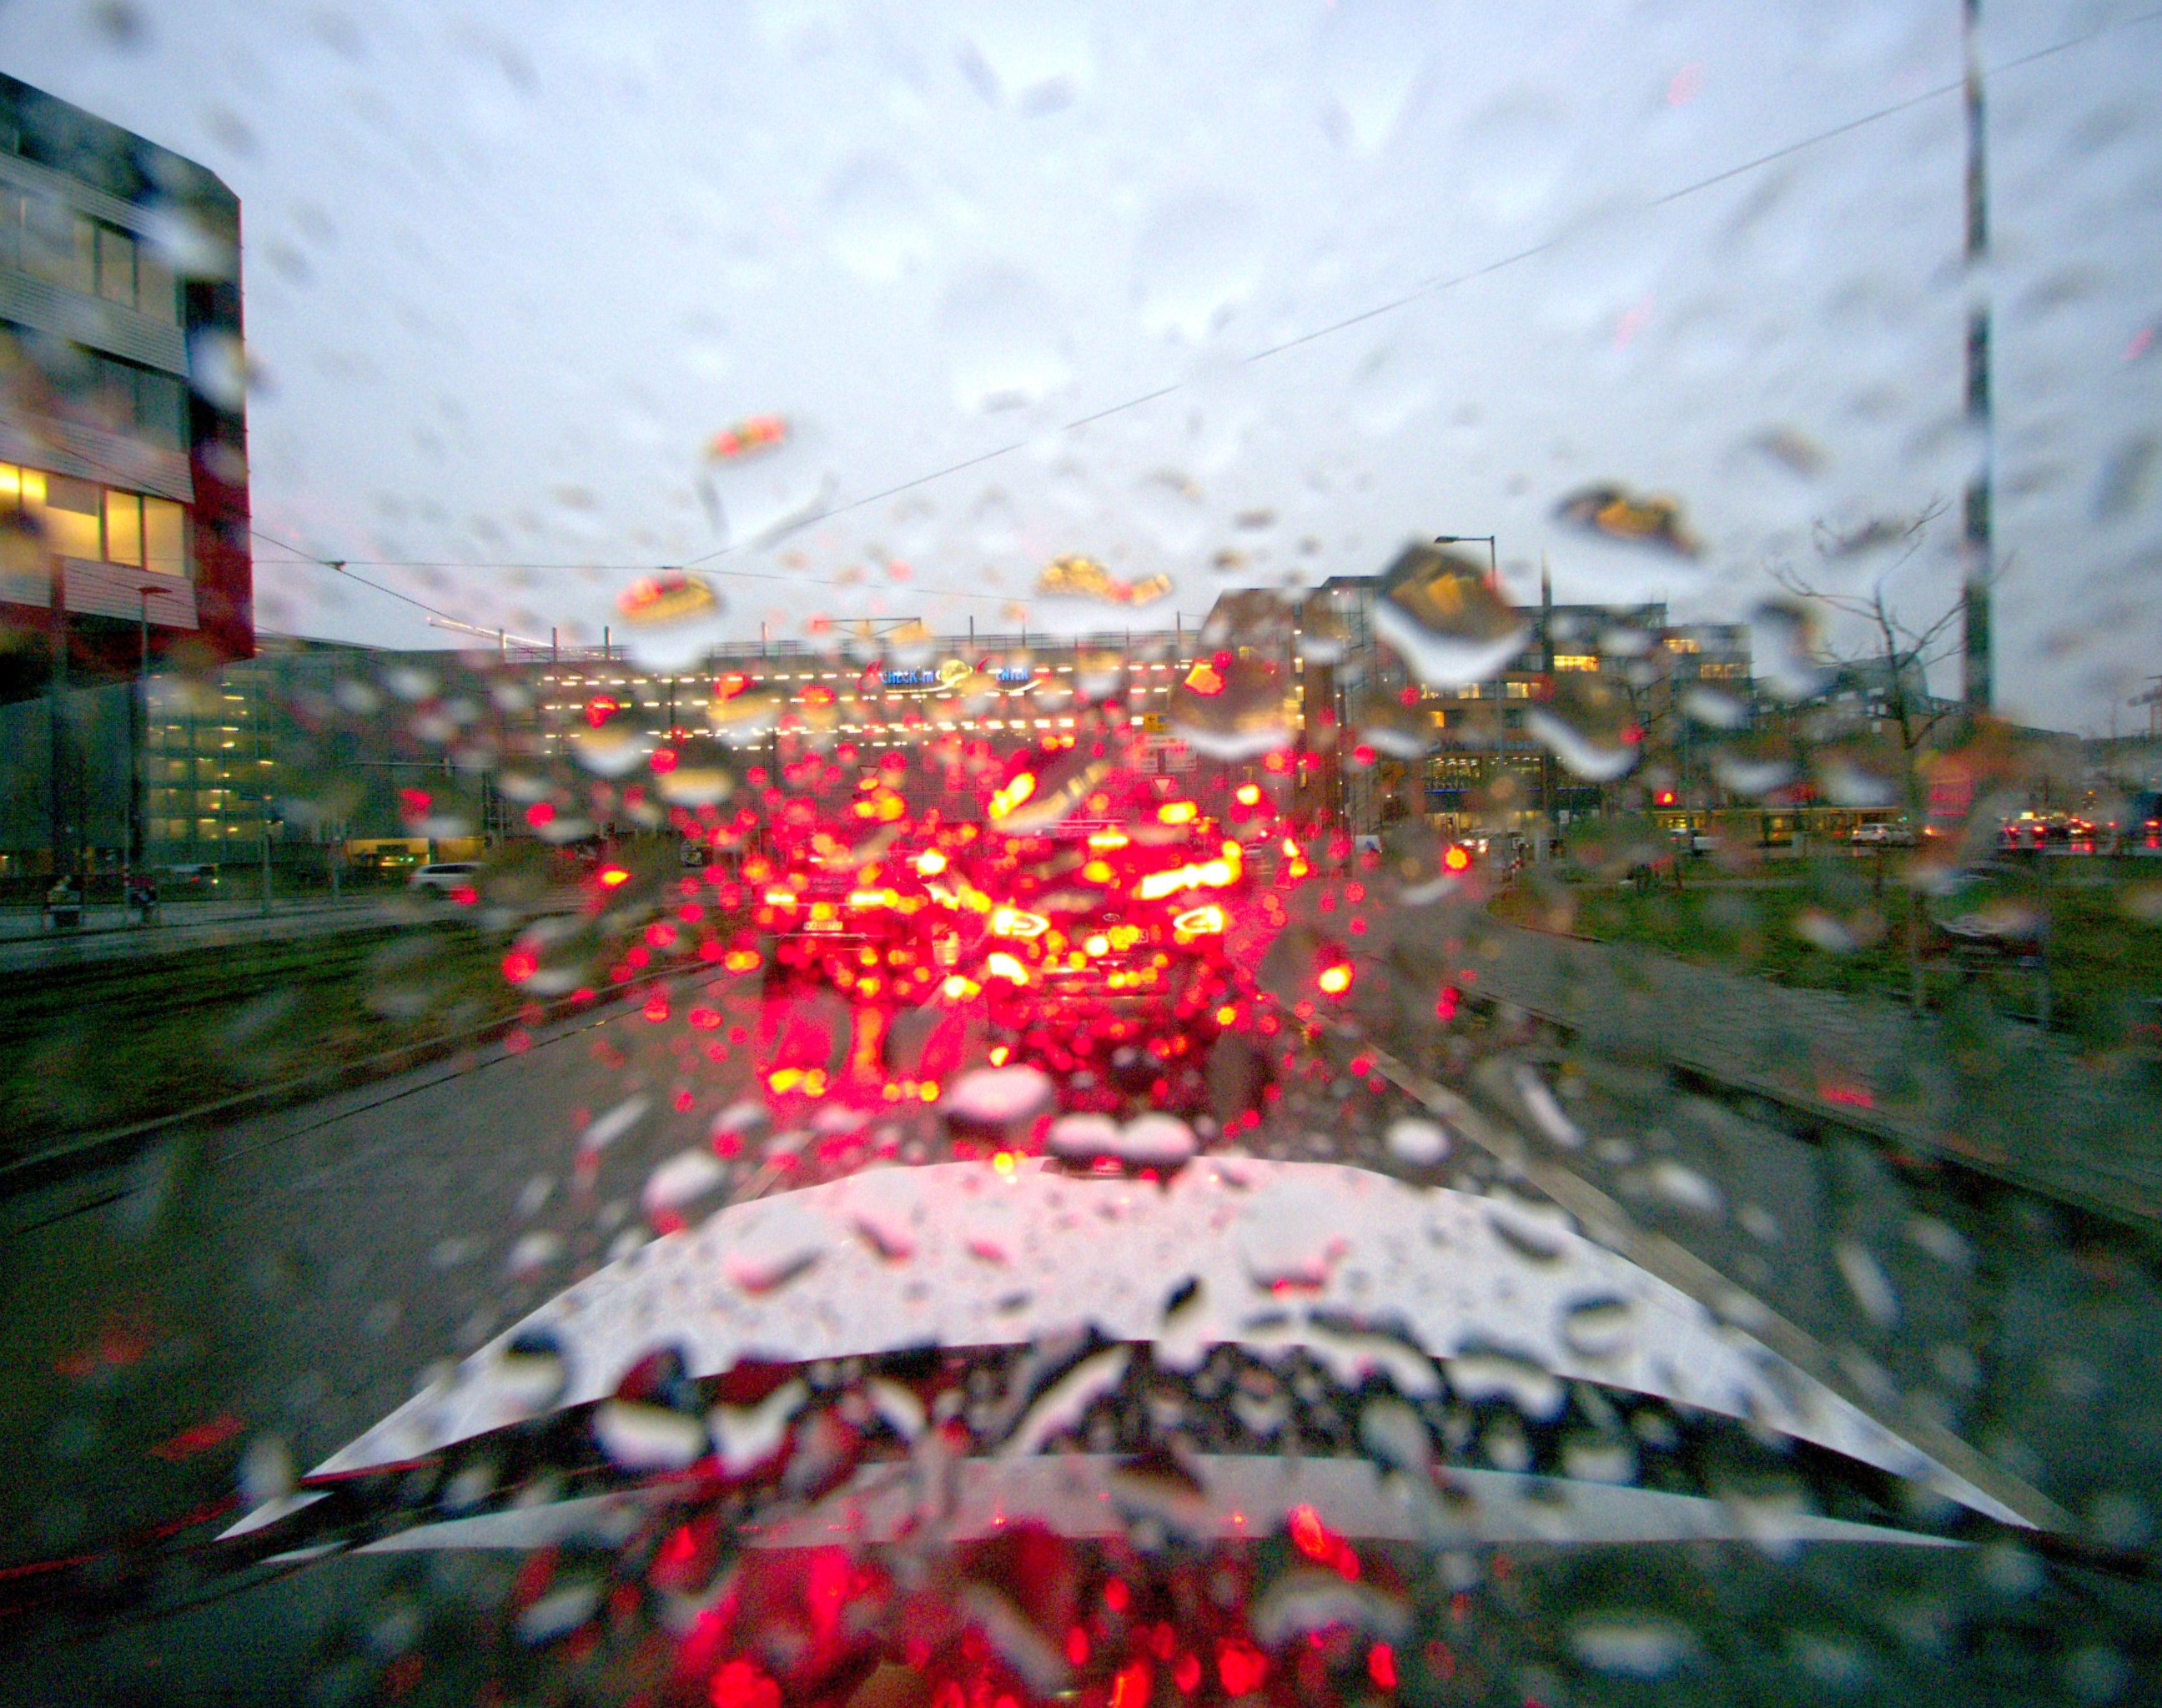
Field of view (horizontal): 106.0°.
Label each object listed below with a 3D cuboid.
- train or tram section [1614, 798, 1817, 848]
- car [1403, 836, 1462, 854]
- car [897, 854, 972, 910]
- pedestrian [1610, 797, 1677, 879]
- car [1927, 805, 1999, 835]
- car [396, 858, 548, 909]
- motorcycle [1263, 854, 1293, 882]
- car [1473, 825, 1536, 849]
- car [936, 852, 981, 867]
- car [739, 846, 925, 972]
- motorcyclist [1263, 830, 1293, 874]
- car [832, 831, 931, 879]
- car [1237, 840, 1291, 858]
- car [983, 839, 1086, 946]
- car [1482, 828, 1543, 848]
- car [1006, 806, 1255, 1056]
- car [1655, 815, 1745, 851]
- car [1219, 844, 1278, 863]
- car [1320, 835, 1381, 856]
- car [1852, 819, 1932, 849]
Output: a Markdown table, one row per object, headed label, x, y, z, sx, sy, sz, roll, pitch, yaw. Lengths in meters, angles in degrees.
| label | x | y | z | sx | sy | sz | roll | pitch | yaw |
| --- | --- | --- | --- | --- | --- | --- | --- | --- | --- |
| train or tram section | 47.939 | -2.357 | 61.408 | 16.628 | 3.260 | 2.326 | -2 | 0 | -14 |
| car | 29.704 | -0.737 | 68.926 | 4.210 | 1.390 | 1.796 | -2 | 0 | -6 |
| car | -3.620 | 0.642 | 20.648 | 1.538 | 1.251 | 4.059 | -1 | 0 | -6 |
| pedestrian | 13.577 | -0.388 | 19.689 | 1.159 | 1.924 | 0.903 | 1 | 0 | 24 |
| car | 63.877 | -2.447 | 58.952 | 4.953 | 2.013 | 1.985 | 0 | 0 | -23 |
| car | -25.097 | 1.204 | 33.730 | 4.667 | 1.850 | 1.826 | -2 | -1 | -9 |
| motorcycle | 7.155 | 0.492 | 29.614 | 0.848 | 0.971 | 1.585 | -2 | 0 | 7 |
| car | 38.210 | -1.544 | 73.598 | 4.832 | 2.000 | 1.796 | -2 | 0 | -6 |
| car | -10.740 | 0.455 | 71.606 | 3.752 | 1.165 | 1.678 | -2 | 0 | -4 |
| car | -3.604 | 0.709 | 12.560 | 1.748 | 1.574 | 3.996 | -2 | 0 | -3 |
| motorcyclist | 7.138 | -0.065 | 29.550 | 0.864 | 1.534 | 1.110 | -2 | 0 | 7 |
| car | -8.719 | 0.016 | 35.924 | 3.987 | 1.874 | 1.993 | -3 | 1 | -10 |
| car | 15.807 | -0.422 | 70.523 | 4.210 | 1.390 | 1.796 | -2 | 0 | -6 |
| car | -0.828 | 0.617 | 14.844 | 1.632 | 1.697 | 3.667 | -1 | 0 | -3 |
| car | 37.132 | -1.358 | 70.122 | 4.426 | 1.534 | 1.796 | -2 | 0 | -6 |
| car | 0.327 | 0.531 | 7.833 | 1.730 | 1.738 | 4.245 | 1 | 0 | -1 |
| car | 36.438 | -1.232 | 47.938 | 4.363 | 2.013 | 1.990 | 0 | 0 | -15 |
| car | 13.819 | -0.040 | 67.273 | 4.413 | 1.390 | 1.796 | -2 | 0 | -6 |
| car | 22.377 | -0.723 | 67.654 | 4.413 | 1.595 | 1.796 | -2 | 0 | -6 |
| car | 56.356 | -1.375 | 56.620 | 3.985 | 2.013 | 1.994 | 0 | 0 | -9 |
